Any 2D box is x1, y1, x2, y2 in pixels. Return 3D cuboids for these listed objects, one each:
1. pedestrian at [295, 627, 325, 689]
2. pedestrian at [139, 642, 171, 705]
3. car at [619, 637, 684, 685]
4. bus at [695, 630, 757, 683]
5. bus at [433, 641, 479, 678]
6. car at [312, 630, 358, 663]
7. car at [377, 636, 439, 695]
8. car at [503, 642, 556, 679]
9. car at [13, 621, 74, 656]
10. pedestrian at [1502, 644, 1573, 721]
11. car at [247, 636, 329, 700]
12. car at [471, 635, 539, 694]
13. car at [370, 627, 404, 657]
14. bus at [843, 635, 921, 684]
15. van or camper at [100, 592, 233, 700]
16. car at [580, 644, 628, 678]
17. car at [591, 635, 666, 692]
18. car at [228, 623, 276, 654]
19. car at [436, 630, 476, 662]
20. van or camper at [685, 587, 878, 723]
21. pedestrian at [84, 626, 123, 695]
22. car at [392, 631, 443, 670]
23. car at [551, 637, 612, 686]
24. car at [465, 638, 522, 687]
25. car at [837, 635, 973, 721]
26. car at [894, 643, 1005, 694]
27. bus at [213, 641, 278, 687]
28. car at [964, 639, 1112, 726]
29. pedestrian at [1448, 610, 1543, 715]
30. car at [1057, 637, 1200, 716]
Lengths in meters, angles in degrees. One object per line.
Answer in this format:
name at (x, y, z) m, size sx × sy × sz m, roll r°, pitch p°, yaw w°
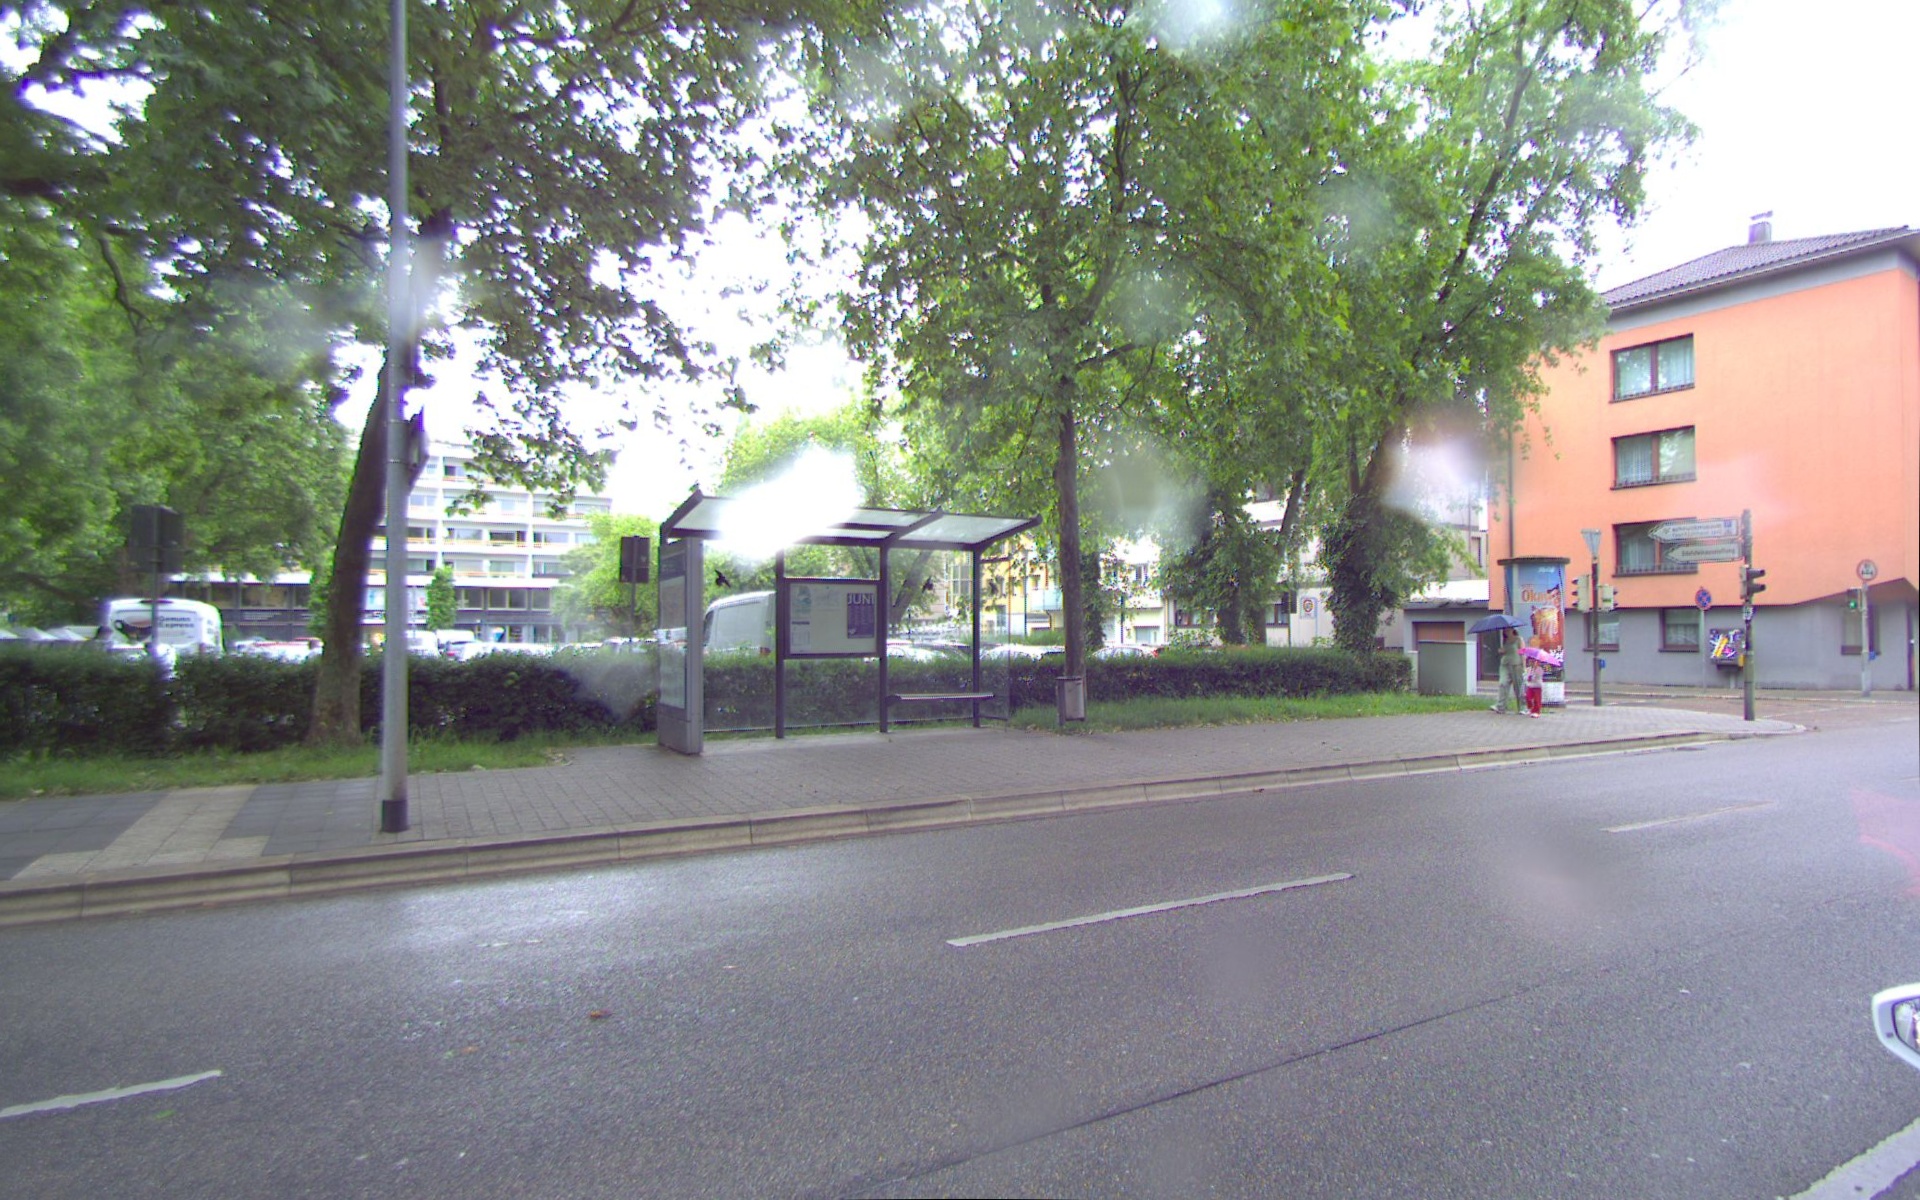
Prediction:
pedestrian at (-13.256, 1.185, 20.489) m, size 0.462 × 1.229 × 0.434 m, roll 2°, pitch 0°, yaw -37°
pedestrian at (-16.216, 1.479, 20.248) m, size 0.462 × 1.229 × 0.434 m, roll 2°, pitch 0°, yaw -37°
car at (-10.004, 1.957, 32.474) m, size 1.375 × 1.454 × 3.248 m, roll 1°, pitch -3°, yaw -29°
bus at (-7.841, 1.864, 33.522) m, size 1.363 × 1.698 × 2.779 m, roll 1°, pitch -3°, yaw -28°
bus at (-22.382, 2.607, 44.571) m, size 1.587 × 1.559 × 3.403 m, roll 2°, pitch -3°, yaw -30°
car at (-31.431, 2.308, 50.585) m, size 1.818 × 1.444 × 3.799 m, roll 2°, pitch 0°, yaw -31°
car at (-14.745, 1.715, 26.851) m, size 1.375 × 1.454 × 3.248 m, roll 1°, pitch -3°, yaw -29°
car at (-17.706, 2.451, 41.238) m, size 1.587 × 1.447 × 3.293 m, roll 2°, pitch -3°, yaw -30°
car at (-40.873, 1.688, 44.852) m, size 1.412 × 1.447 × 2.941 m, roll 1°, pitch 0°, yaw -30°
pedestrian at (9.568, 1.349, 16.646) m, size 0.817 × 1.190 × 0.681 m, roll 1°, pitch 0°, yaw -30°
car at (-16.522, 1.644, 24.790) m, size 1.375 × 1.454 × 3.248 m, roll 1°, pitch -3°, yaw -29°
car at (-12.102, 1.683, 26.649) m, size 1.375 × 1.454 × 3.248 m, roll 1°, pitch -3°, yaw -29°
car at (-33.052, 2.394, 57.916) m, size 1.622 × 1.544 × 3.174 m, roll 1°, pitch 1°, yaw -32°
bus at (-2.474, 1.839, 31.550) m, size 1.364 × 1.451 × 2.777 m, roll 2°, pitch -3°, yaw -30°
van or camper at (-20.709, 1.211, 26.423) m, size 2.074 × 2.570 × 4.392 m, roll 1°, pitch -3°, yaw -30°
car at (-15.208, 2.576, 42.829) m, size 1.332 × 1.401 × 3.141 m, roll 2°, pitch -3°, yaw -30°
car at (-9.123, 1.714, 27.506) m, size 1.375 × 1.454 × 3.248 m, roll 1°, pitch -3°, yaw -29°
car at (-33.725, 1.853, 47.909) m, size 1.587 × 1.447 × 3.293 m, roll 2°, pitch -3°, yaw -30°
car at (-27.216, 2.453, 54.223) m, size 1.622 × 1.544 × 3.174 m, roll 2°, pitch 0°, yaw -32°
van or camper at (-3.441, 0.997, 18.694) m, size 2.026 × 2.198 × 4.458 m, roll 2°, pitch -3°, yaw -32°
pedestrian at (-15.734, 1.100, 18.458) m, size 0.481 × 1.229 × 0.434 m, roll 2°, pitch 0°, yaw -37°
car at (-20.911, 1.943, 38.688) m, size 1.587 × 1.447 × 3.293 m, roll 2°, pitch -3°, yaw -30°
car at (-11.969, 1.928, 31.681) m, size 1.375 × 1.454 × 3.248 m, roll 1°, pitch -3°, yaw -29°
car at (-14.553, 1.923, 31.281) m, size 1.375 × 1.454 × 3.248 m, roll 1°, pitch -3°, yaw -29°
car at (-1.223, 1.575, 21.186) m, size 1.492 × 1.544 × 3.174 m, roll 2°, pitch 0°, yaw -32°
car at (-0.403, 2.197, 32.857) m, size 1.799 × 1.536 × 3.965 m, roll 2°, pitch -3°, yaw -33°
bus at (-25.560, 2.269, 36.017) m, size 1.587 × 1.559 × 3.403 m, roll 2°, pitch -3°, yaw -30°
car at (1.572, 1.660, 21.169) m, size 1.492 × 1.544 × 3.174 m, roll 2°, pitch 0°, yaw -32°
pedestrian at (9.401, 1.066, 17.645) m, size 1.195 × 1.765 × 0.987 m, roll 1°, pitch 0°, yaw -30°
car at (3.793, 1.684, 23.040) m, size 1.492 × 1.544 × 3.174 m, roll 2°, pitch 0°, yaw -32°
